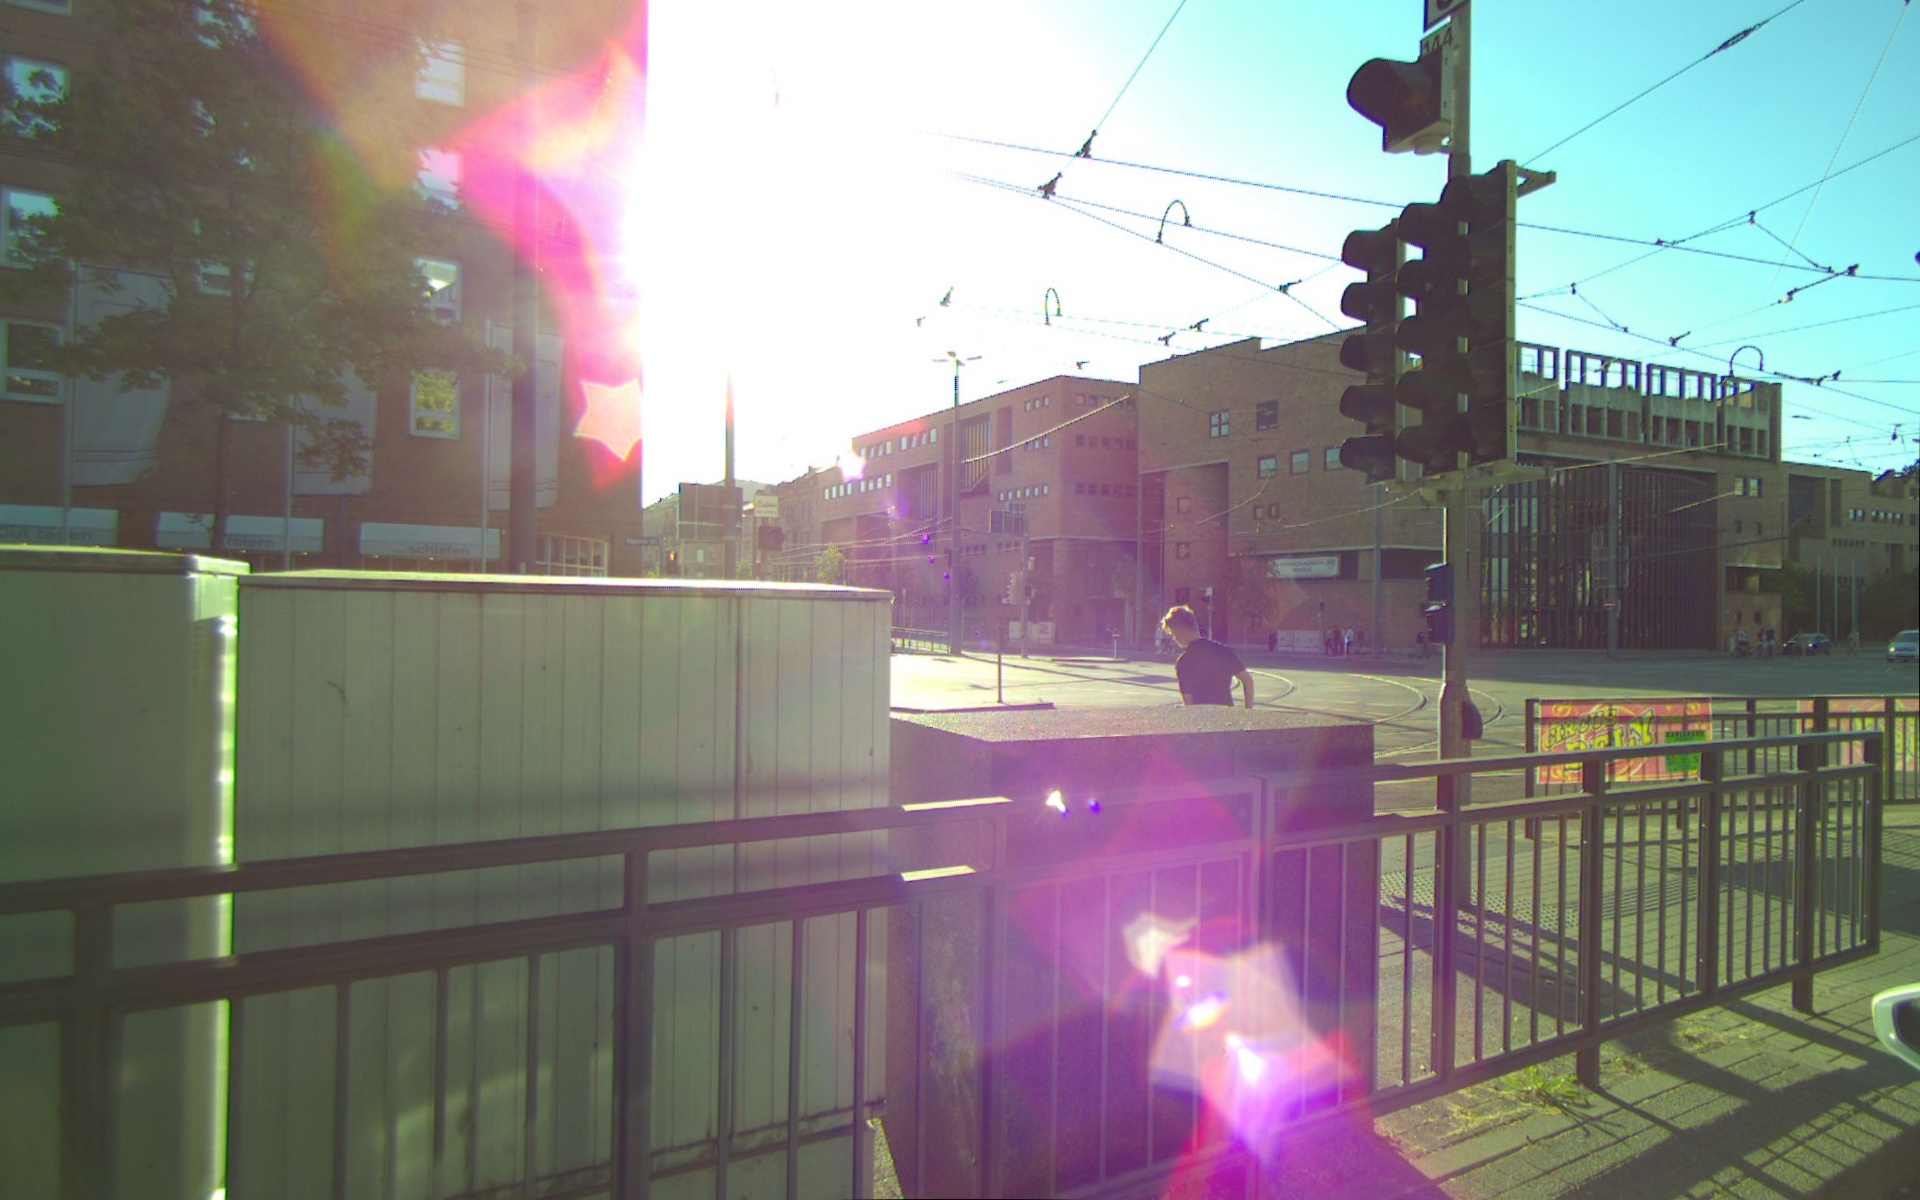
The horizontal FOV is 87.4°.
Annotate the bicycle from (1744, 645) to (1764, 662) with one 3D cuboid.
[{"bbox_3d":[46.215,3.121,58.452,1.304,0.976,0.465,1,-1,-30],"label":"bicycle"}]

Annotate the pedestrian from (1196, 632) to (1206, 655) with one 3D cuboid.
[{"bbox_3d":[15.452,2.776,64.409,0.549,1.445,0.556,0,-1,0],"label":"pedestrian"}]

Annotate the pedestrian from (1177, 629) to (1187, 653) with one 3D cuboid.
[{"bbox_3d":[14.256,2.638,64.515,0.523,1.482,0.591,0,-1,8],"label":"pedestrian"}]

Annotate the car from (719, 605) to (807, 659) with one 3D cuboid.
[{"bbox_3d":[-9.462,1.516,47.952,1.982,2.419,5.156,1,-2,-38],"label":"car"}]

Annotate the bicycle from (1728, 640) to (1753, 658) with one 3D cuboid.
[{"bbox_3d":[43.431,2.725,55.904,1.568,0.976,0.539,1,-1,-30],"label":"bicycle"}]

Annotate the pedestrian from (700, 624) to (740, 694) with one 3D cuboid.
[{"bbox_3d":[-5.878,1.417,24.594,0.709,1.669,0.953,1,-1,-30],"label":"pedestrian"}]

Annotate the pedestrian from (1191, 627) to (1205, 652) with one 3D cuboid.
[{"bbox_3d":[13.109,2.163,55.277,0.667,1.357,0.605,0,-1,4],"label":"pedestrian"}]

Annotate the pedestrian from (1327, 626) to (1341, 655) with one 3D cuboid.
[{"bbox_3d":[22.188,2.406,59.536,0.586,1.706,0.545,1,-1,-36],"label":"pedestrian"}]

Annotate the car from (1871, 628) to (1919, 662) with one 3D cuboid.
[{"bbox_3d":[48.977,2.287,51.777,3.954,1.661,1.983,1,-2,-31],"label":"car"}]

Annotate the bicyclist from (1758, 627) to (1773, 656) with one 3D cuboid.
[{"bbox_3d":[44.239,2.280,55.157,0.574,1.624,0.456,1,-1,-30],"label":"bicyclist"}]

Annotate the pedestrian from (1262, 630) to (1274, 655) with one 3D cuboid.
[{"bbox_3d":[18.905,2.617,61.683,0.484,1.526,0.547,-1,-2,44],"label":"pedestrian"}]

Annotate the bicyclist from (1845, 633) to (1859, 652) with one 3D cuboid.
[{"bbox_3d":[57.501,2.743,64.747,0.574,1.226,0.503,1,-1,-30],"label":"bicyclist"}]

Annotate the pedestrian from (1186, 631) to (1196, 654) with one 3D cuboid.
[{"bbox_3d":[14.814,2.711,64.427,0.562,1.428,0.554,0,-1,4],"label":"pedestrian"}]

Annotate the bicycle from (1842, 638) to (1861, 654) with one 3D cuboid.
[{"bbox_3d":[57.442,2.965,64.718,1.469,0.976,0.489,1,-1,-30],"label":"bicycle"}]

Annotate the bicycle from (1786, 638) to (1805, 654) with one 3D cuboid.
[{"bbox_3d":[49.674,2.731,59.694,1.332,0.976,0.449,1,-1,-30],"label":"bicycle"}]

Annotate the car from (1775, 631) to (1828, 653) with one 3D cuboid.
[{"bbox_3d":[58.025,2.867,69.243,3.954,1.455,1.658,1,-2,-31],"label":"car"}]

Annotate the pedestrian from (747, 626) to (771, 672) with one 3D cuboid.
[{"bbox_3d":[-7.394,1.790,36.989,0.658,1.669,0.638,1,-1,-34],"label":"pedestrian"}]

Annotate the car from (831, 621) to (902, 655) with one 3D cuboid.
[{"bbox_3d":[-4.919,1.968,52.266,1.980,1.572,3.961,2,0,-35],"label":"car"}]

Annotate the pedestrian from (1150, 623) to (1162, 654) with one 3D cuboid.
[{"bbox_3d":[10.747,2.117,55.091,0.538,1.670,0.601,0,-1,-1],"label":"pedestrian"}]

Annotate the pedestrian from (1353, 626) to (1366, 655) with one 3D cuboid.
[{"bbox_3d":[23.993,2.440,60.310,0.543,1.706,0.568,1,-1,-38],"label":"pedestrian"}]

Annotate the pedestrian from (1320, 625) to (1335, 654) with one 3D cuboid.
[{"bbox_3d":[22.331,2.405,61.081,0.644,1.706,0.616,1,-1,-33],"label":"pedestrian"}]

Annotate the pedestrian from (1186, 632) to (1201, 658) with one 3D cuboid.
[{"bbox_3d":[13.102,2.509,56.376,0.604,1.473,0.568,1,-1,-12],"label":"pedestrian"}]

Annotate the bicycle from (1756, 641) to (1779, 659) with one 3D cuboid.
[{"bbox_3d":[44.419,2.724,55.230,1.557,0.976,0.470,1,-1,-30],"label":"bicycle"}]

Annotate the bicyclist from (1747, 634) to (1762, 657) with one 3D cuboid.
[{"bbox_3d":[46.253,2.640,58.486,0.574,1.321,0.503,1,-1,-30],"label":"bicyclist"}]

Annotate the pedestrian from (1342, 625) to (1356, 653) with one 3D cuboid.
[{"bbox_3d":[23.869,2.408,61.631,0.496,1.706,0.590,1,-1,-29],"label":"pedestrian"}]

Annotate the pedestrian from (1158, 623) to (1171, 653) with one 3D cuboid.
[{"bbox_3d":[11.358,2.115,55.809,0.578,1.635,0.598,0,-1,0],"label":"pedestrian"}]

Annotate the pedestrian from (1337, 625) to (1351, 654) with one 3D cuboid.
[{"bbox_3d":[23.276,2.386,60.866,0.568,1.706,0.544,1,-1,-34],"label":"pedestrian"}]

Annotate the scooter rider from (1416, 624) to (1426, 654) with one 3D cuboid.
[{"bbox_3d":[25.428,2.161,55.390,0.429,1.669,0.229,0,-1,15],"label":"scooter rider"}]

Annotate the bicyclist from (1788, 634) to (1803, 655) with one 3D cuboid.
[{"bbox_3d":[49.606,2.645,59.646,0.574,1.194,0.503,1,-1,-30],"label":"bicyclist"}]

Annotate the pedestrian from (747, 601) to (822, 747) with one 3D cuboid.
[{"bbox_3d":[-2.314,0.943,13.202,0.713,1.837,0.904,1,-1,-28],"label":"pedestrian"}]

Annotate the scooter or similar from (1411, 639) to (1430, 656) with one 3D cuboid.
[{"bbox_3d":[25.373,2.637,55.372,0.931,0.911,0.176,0,-1,14],"label":"scooter or similar"}]

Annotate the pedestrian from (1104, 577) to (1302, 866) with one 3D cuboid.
[{"bbox_3d":[1.645,0.785,6.833,1.076,1.771,0.739,-3,-4,39],"label":"pedestrian"}]

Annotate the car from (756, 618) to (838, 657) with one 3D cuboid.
[{"bbox_3d":[-8.473,1.910,51.861,1.982,1.928,5.156,1,-2,-38],"label":"car"}]

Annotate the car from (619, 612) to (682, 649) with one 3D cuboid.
[{"bbox_3d":[-18.734,1.822,60.680,1.982,2.122,5.156,1,-2,-38],"label":"car"}]

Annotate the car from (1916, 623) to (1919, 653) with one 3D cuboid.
[{"bbox_3d":[55.247,2.109,55.893,3.954,1.661,1.983,1,-2,-31],"label":"car"}]

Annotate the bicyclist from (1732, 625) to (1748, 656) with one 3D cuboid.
[{"bbox_3d":[43.377,2.253,55.859,0.574,1.754,0.534,1,-1,-30],"label":"bicyclist"}]

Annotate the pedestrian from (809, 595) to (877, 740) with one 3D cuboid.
[{"bbox_3d":[-1.572,0.879,13.466,0.647,1.864,0.835,1,-1,-28],"label":"pedestrian"}]
